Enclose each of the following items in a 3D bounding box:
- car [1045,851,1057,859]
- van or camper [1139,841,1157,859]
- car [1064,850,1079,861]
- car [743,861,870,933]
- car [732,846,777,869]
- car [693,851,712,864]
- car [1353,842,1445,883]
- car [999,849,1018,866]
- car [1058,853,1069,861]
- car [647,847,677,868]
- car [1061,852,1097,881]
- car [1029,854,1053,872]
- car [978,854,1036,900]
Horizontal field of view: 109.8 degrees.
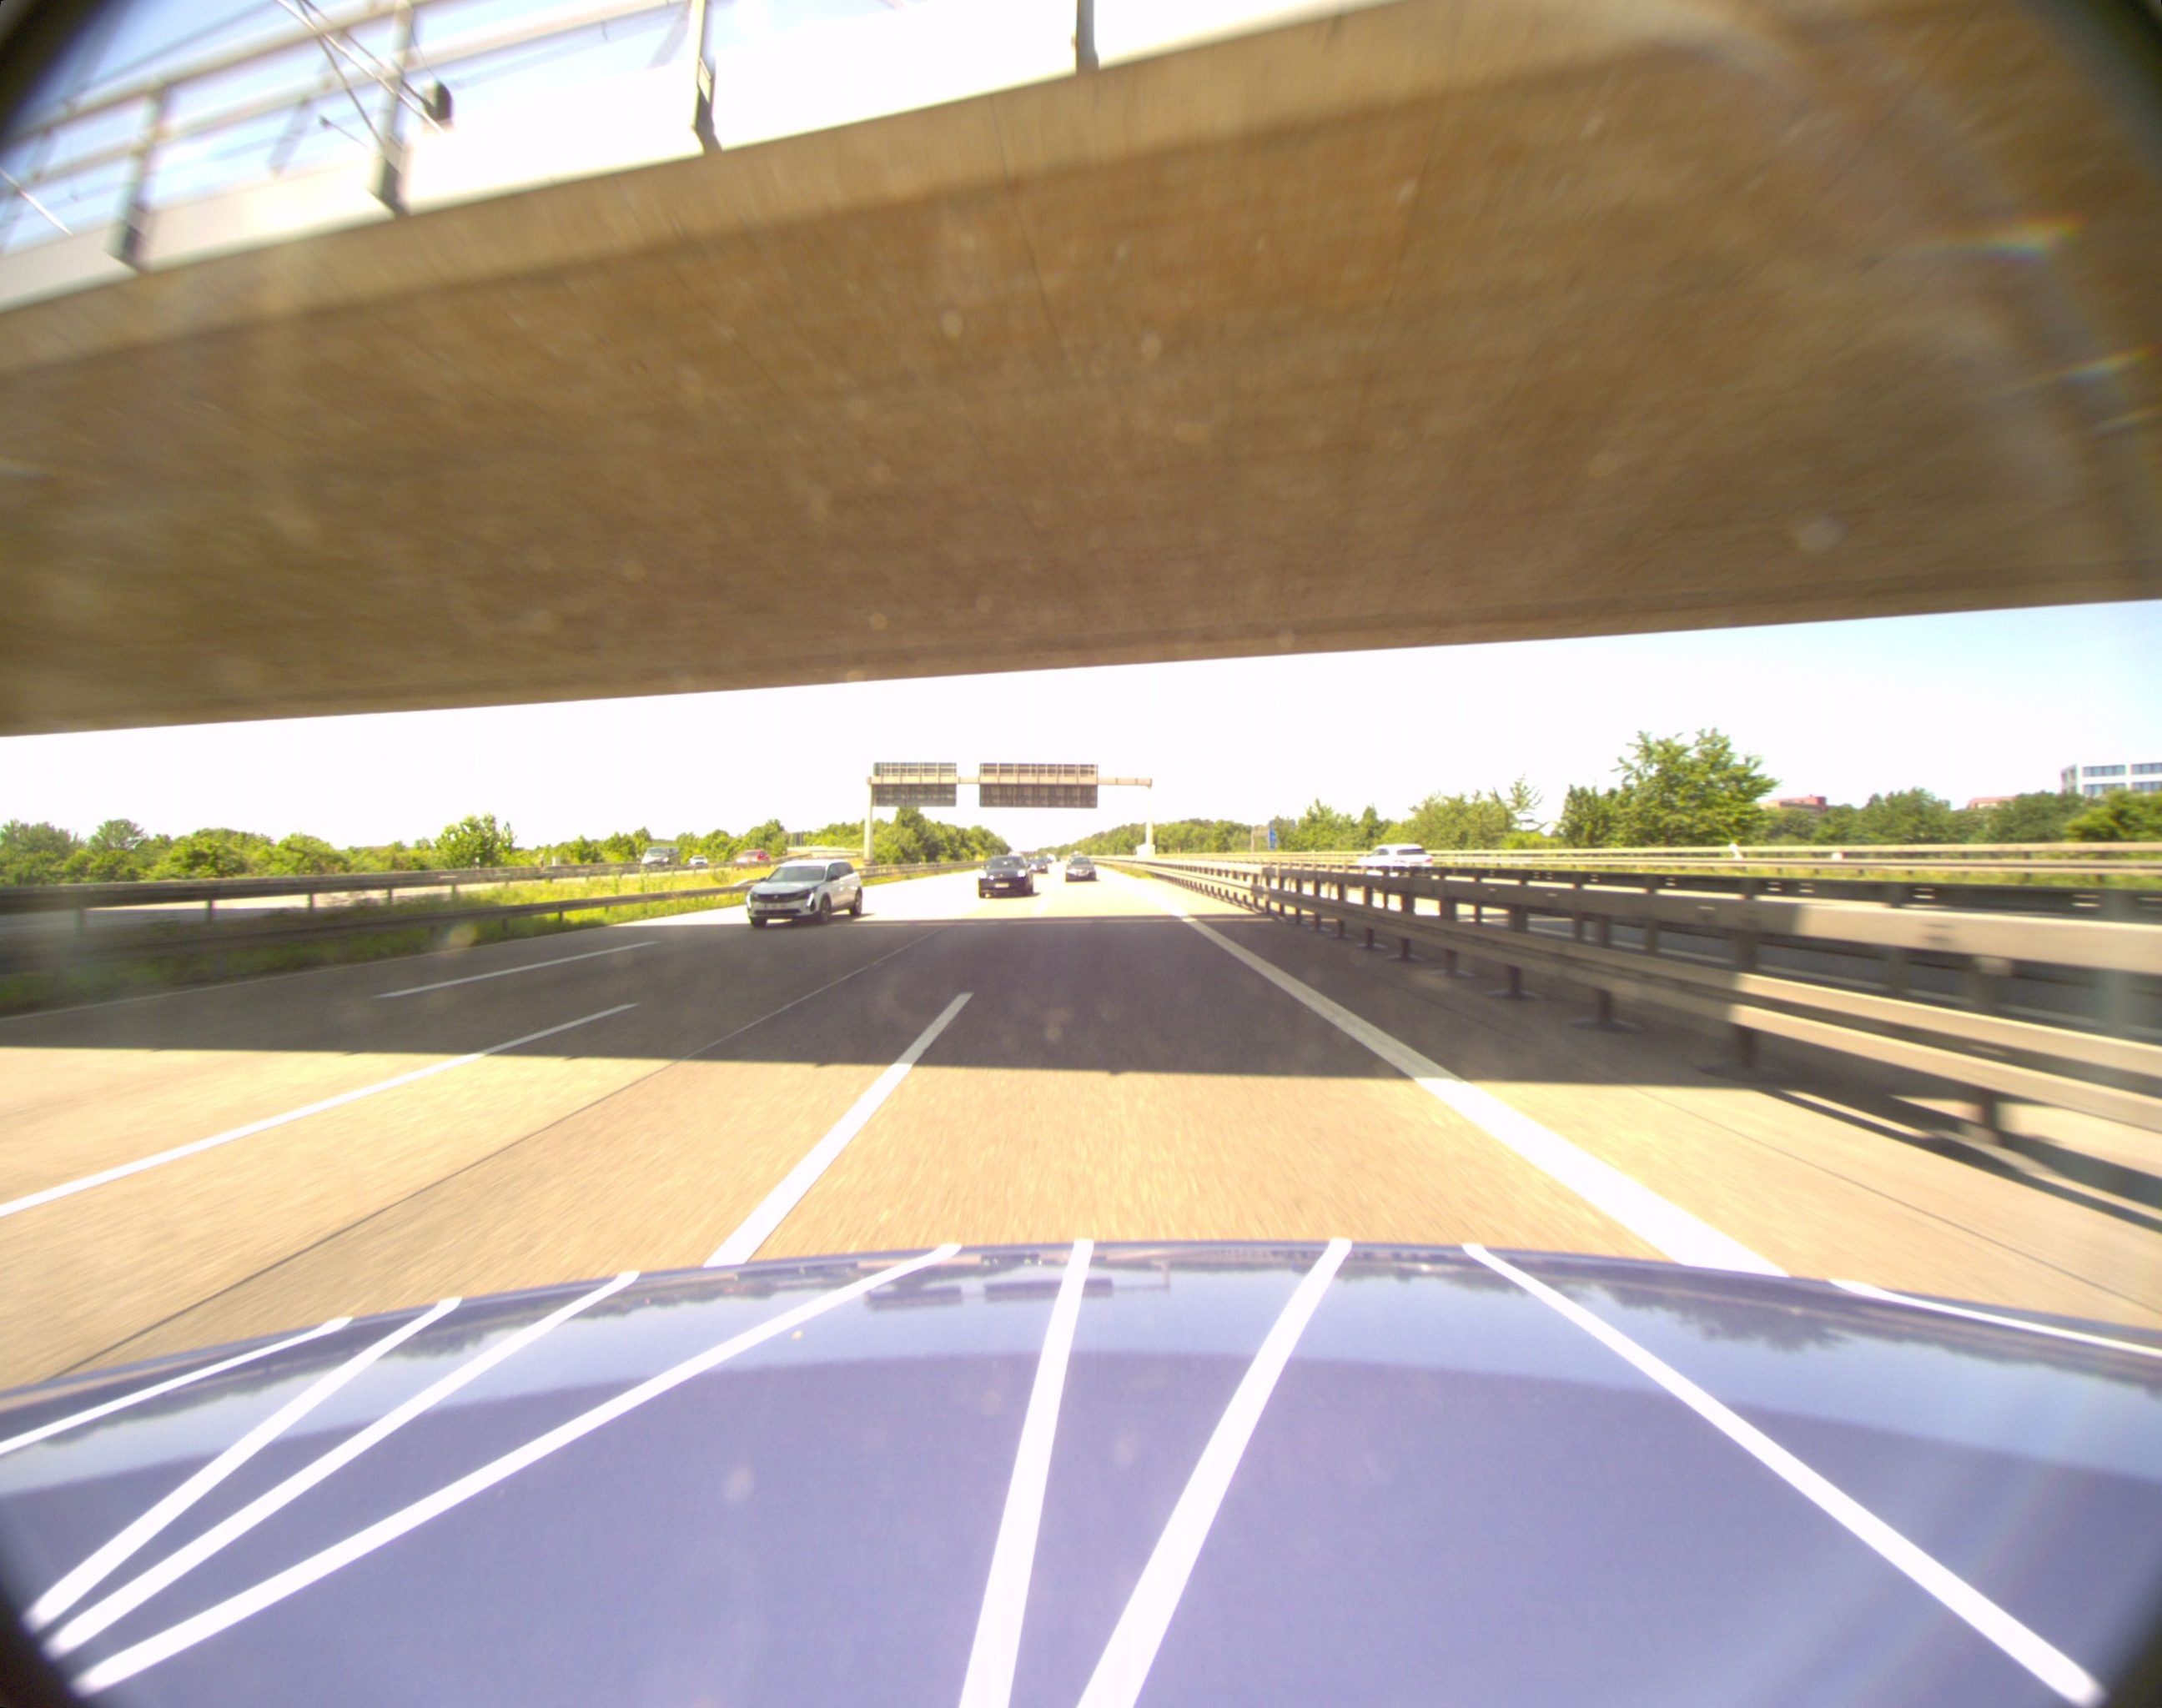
[{"bbox_3d":[-5.554,0.223,141.045,1.932,1.390,4.116,-2,1,-1],"label":"car"},{"bbox_3d":[11.947,-0.699,136.155,2.450,3.069,8.122,-2,0,1],"label":"van or camper"},{"bbox_3d":[-1.254,0.180,104.354,1.931,1.390,4.117,-2,1,0],"label":"car"},{"bbox_3d":[-7.173,1.040,20.409,1.748,1.582,4.619,-2,1,-1],"label":"car"},{"bbox_3d":[-24.274,0.239,56.587,1.932,1.586,4.129,-2,1,-7],"label":"car"},{"bbox_3d":[-45.306,0.426,90.992,1.707,1.566,4.120,-3,1,-24],"label":"car"},{"bbox_3d":[13.888,0.340,33.520,1.933,1.629,4.976,-2,0,0],"label":"car"},{"bbox_3d":[-8.583,0.434,90.435,1.808,1.908,4.294,-2,1,0],"label":"car"},{"bbox_3d":[-4.313,0.773,189.147,2.000,1.849,3.995,-2,1,-12],"label":"car"},{"bbox_3d":[-33.809,0.263,61.371,1.707,1.566,4.120,-3,1,-24],"label":"car"},{"bbox_3d":[-0.074,0.704,44.620,1.931,1.499,4.391,-2,1,2],"label":"car"},{"bbox_3d":[-3.454,0.787,66.675,1.932,1.390,4.116,-2,1,-2],"label":"car"},{"bbox_3d":[-2.867,0.847,30.128,1.932,1.586,4.131,-2,1,-1],"label":"car"}]
